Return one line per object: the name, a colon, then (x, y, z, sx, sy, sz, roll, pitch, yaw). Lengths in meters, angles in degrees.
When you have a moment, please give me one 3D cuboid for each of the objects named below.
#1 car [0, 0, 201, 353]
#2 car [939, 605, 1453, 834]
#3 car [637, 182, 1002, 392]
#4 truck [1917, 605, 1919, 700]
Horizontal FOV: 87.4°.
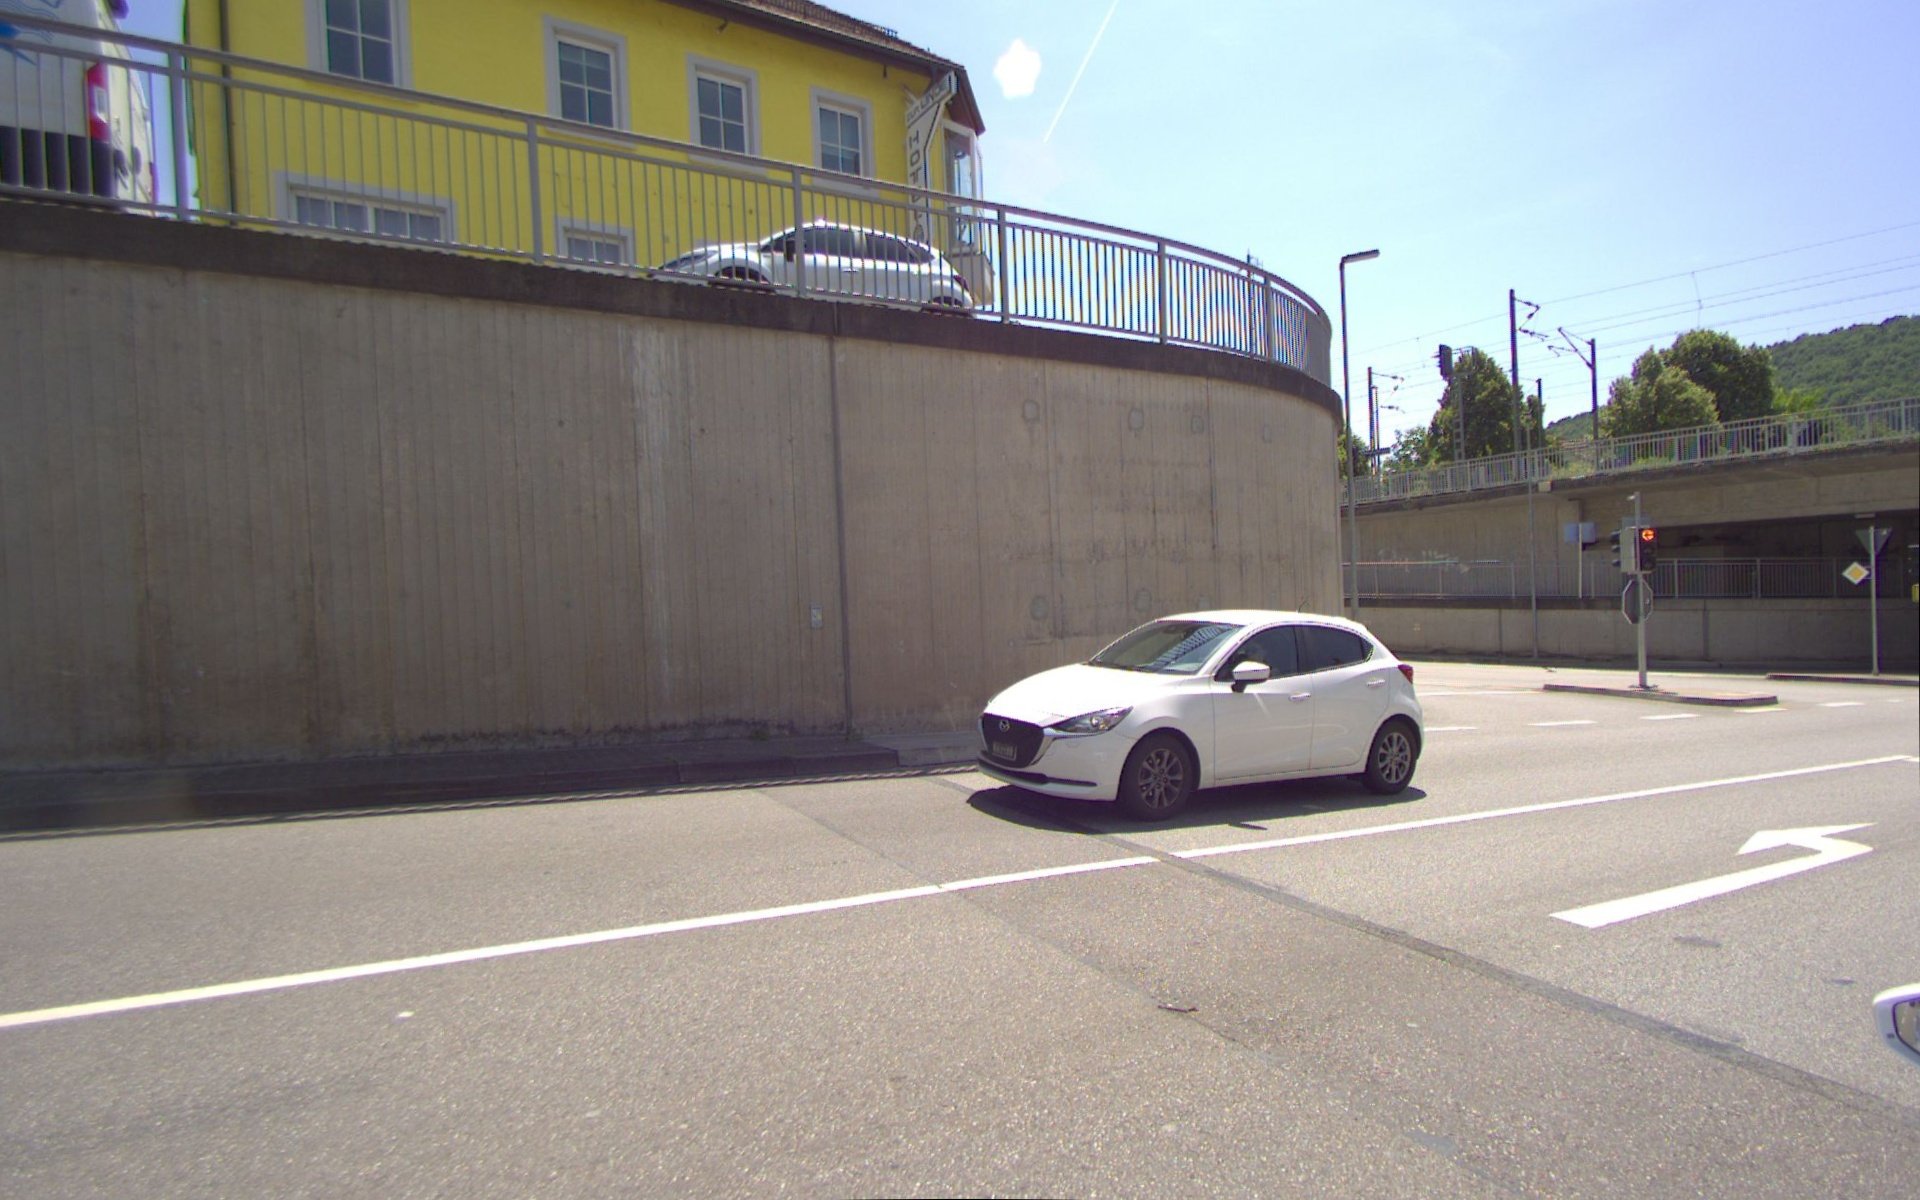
car: (-9.031, -3.501, 7.065, 5.596, 2.571, 2.054, -2, 2, -31)
car: (2.004, 0.825, 8.225, 4.045, 1.460, 1.674, 2, 0, -30)
car: (-1.593, -3.537, 11.951, 4.000, 1.521, 1.609, -2, 2, -33)
truck: (22.669, 0.195, 20.234, 7.275, 3.712, 2.679, 1, 0, -28)
